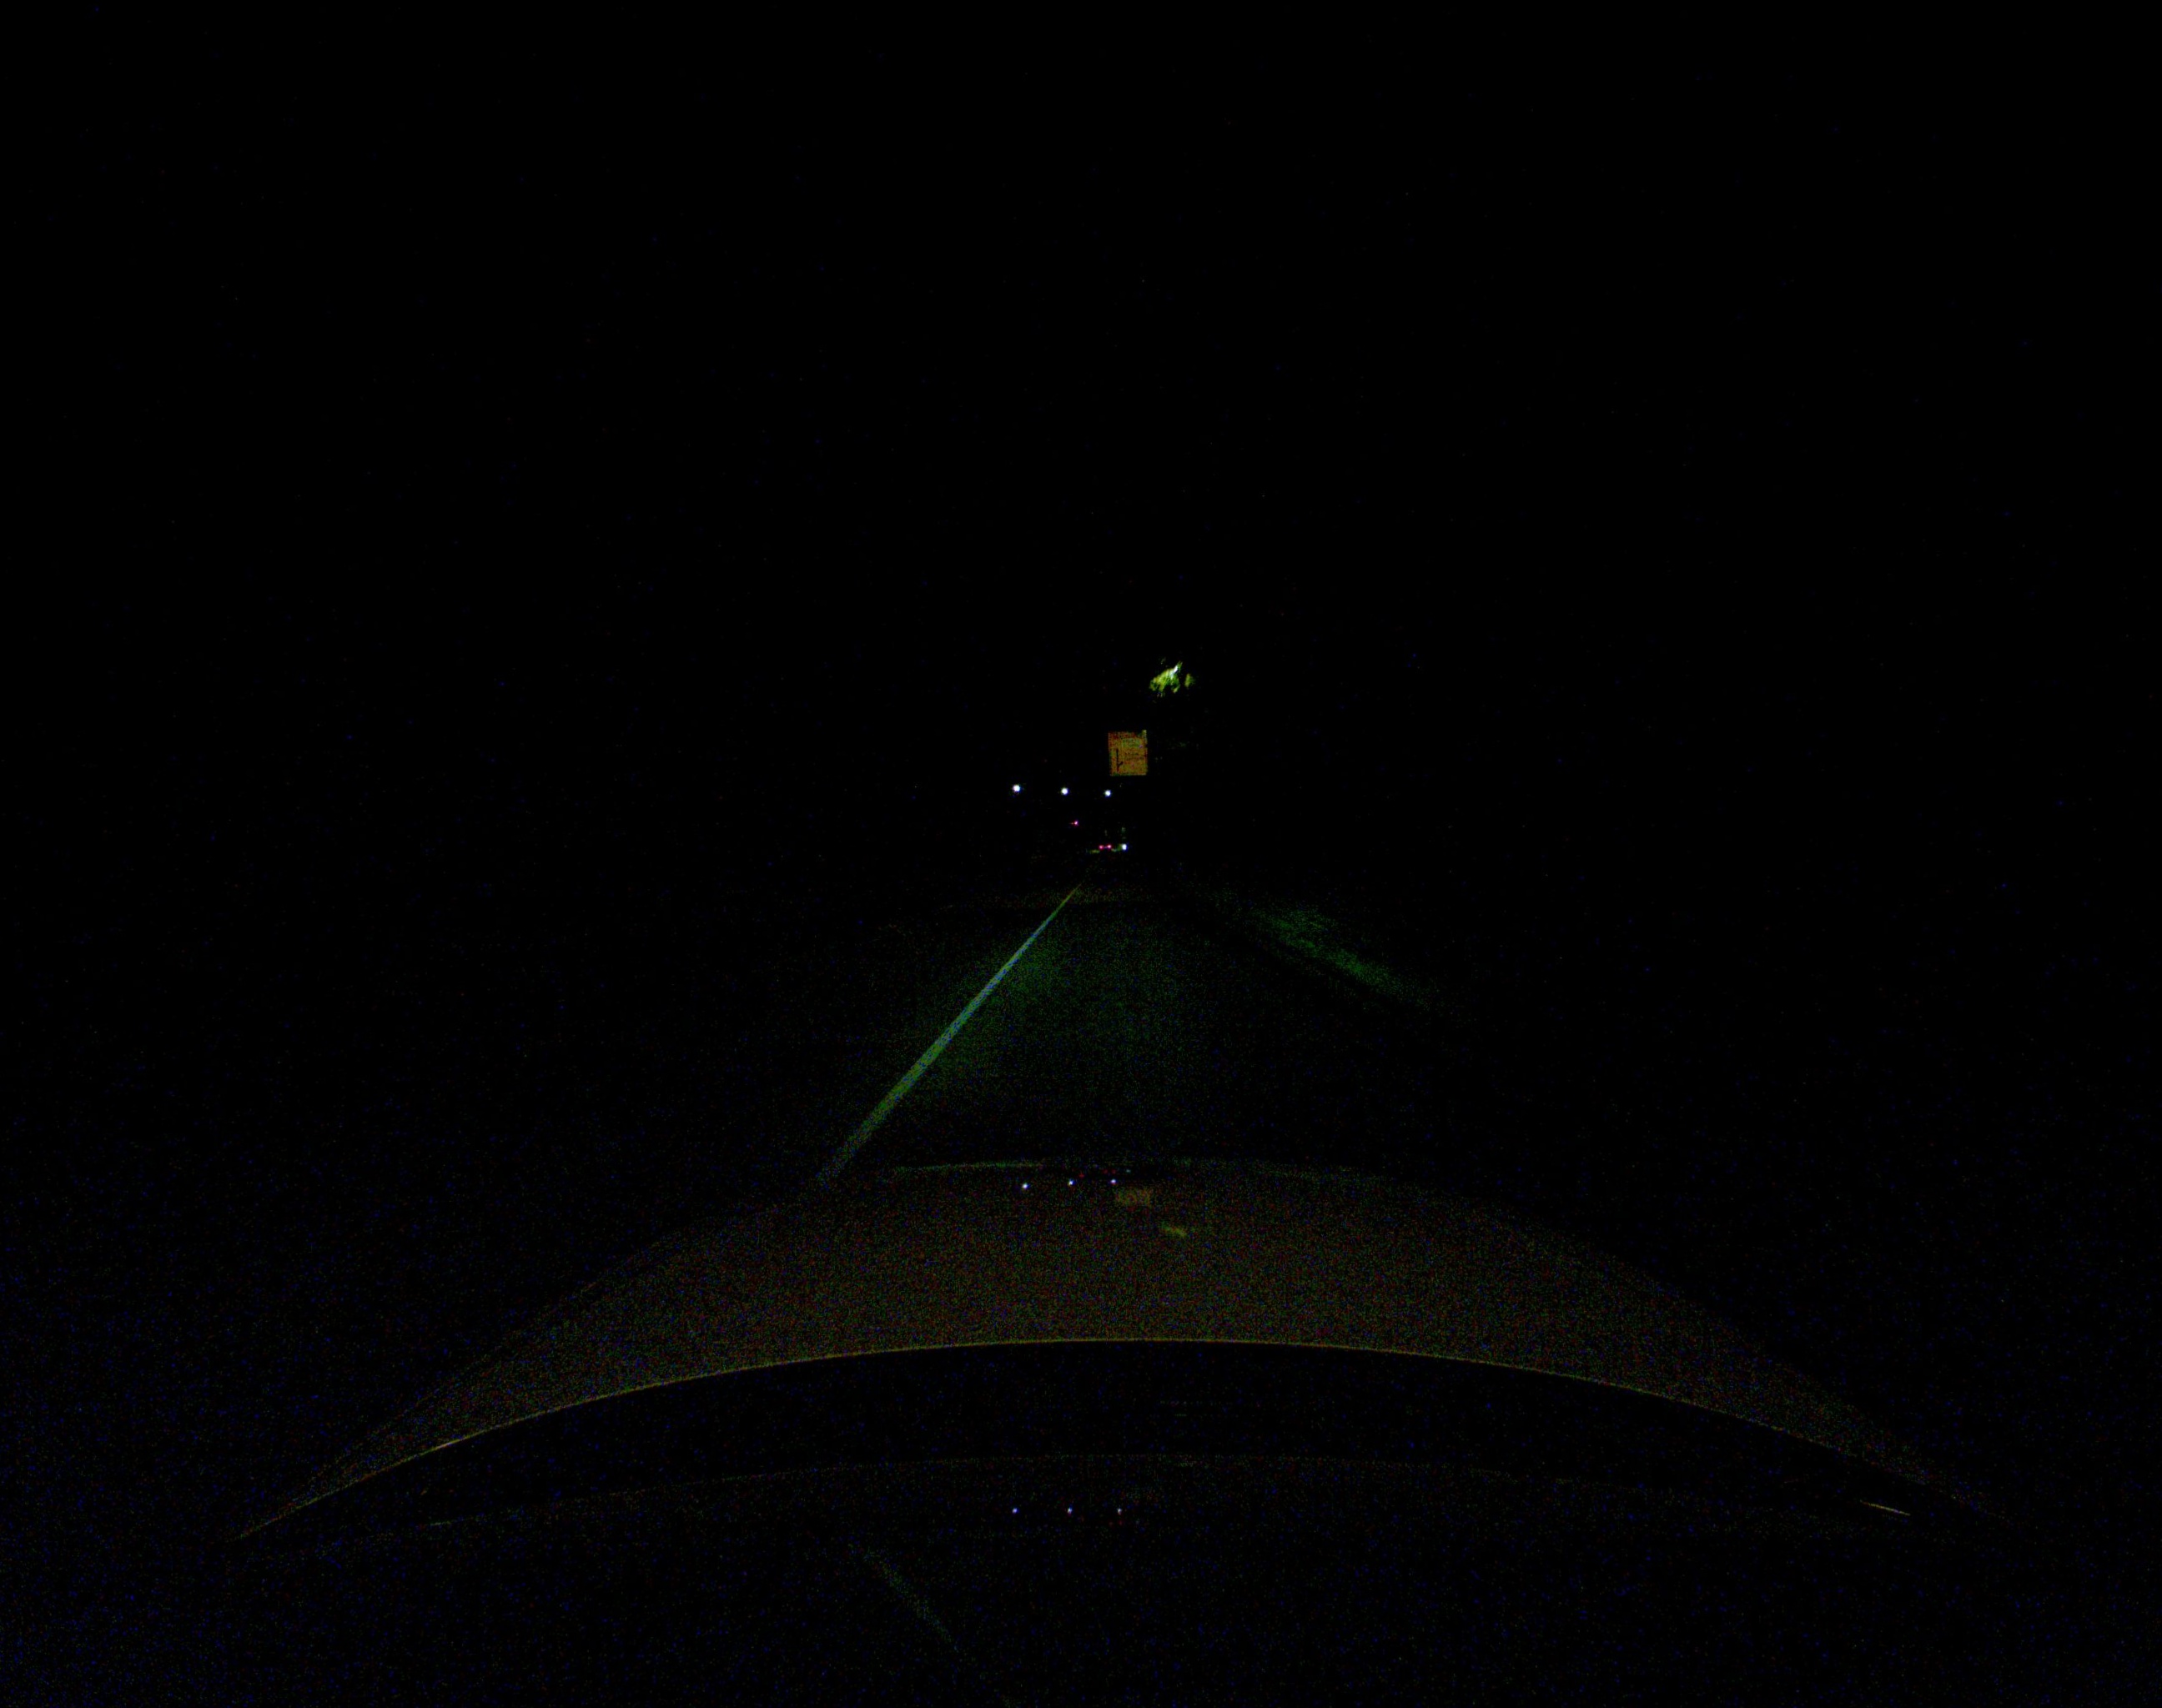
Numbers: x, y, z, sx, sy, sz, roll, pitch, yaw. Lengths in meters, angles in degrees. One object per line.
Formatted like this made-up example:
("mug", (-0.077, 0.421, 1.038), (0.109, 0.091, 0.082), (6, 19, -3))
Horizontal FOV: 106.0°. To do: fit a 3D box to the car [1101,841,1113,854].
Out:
("car", (4.046, -0.974, 128.196), (1.911, 2.014, 4.124), (0, 0, 2))
